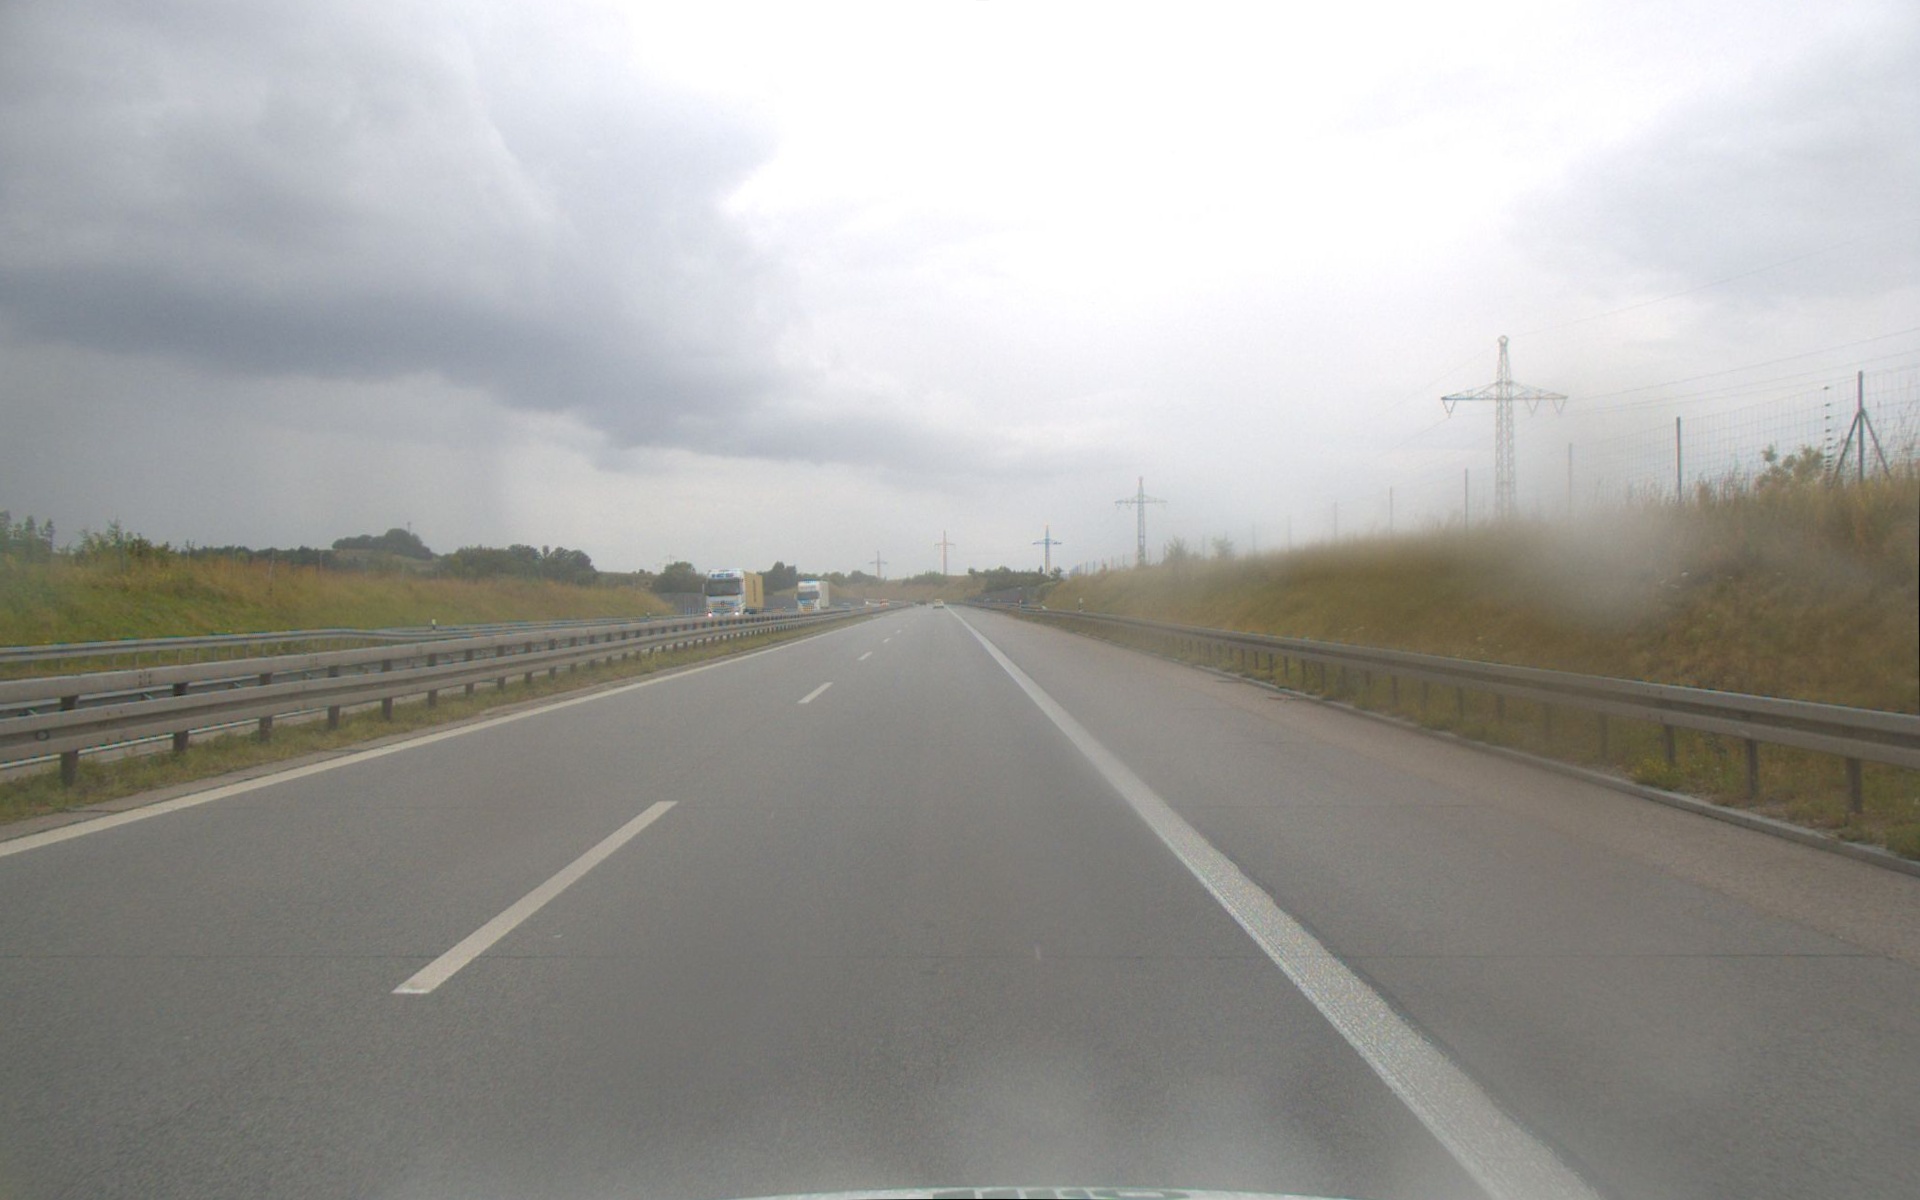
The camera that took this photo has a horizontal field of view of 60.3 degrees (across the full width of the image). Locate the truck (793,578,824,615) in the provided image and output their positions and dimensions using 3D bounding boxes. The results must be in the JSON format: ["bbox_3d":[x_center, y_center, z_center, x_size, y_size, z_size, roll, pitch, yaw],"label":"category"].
[{"bbox_3d":[-16.698,-0.374,182.989,2.892,3.994,5.517,-2,0,-1],"label":"truck"}]

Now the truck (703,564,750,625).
[{"bbox_3d":[-16.103,-0.381,114.339,2.541,3.994,5.585,-2,0,-2],"label":"truck"}]
